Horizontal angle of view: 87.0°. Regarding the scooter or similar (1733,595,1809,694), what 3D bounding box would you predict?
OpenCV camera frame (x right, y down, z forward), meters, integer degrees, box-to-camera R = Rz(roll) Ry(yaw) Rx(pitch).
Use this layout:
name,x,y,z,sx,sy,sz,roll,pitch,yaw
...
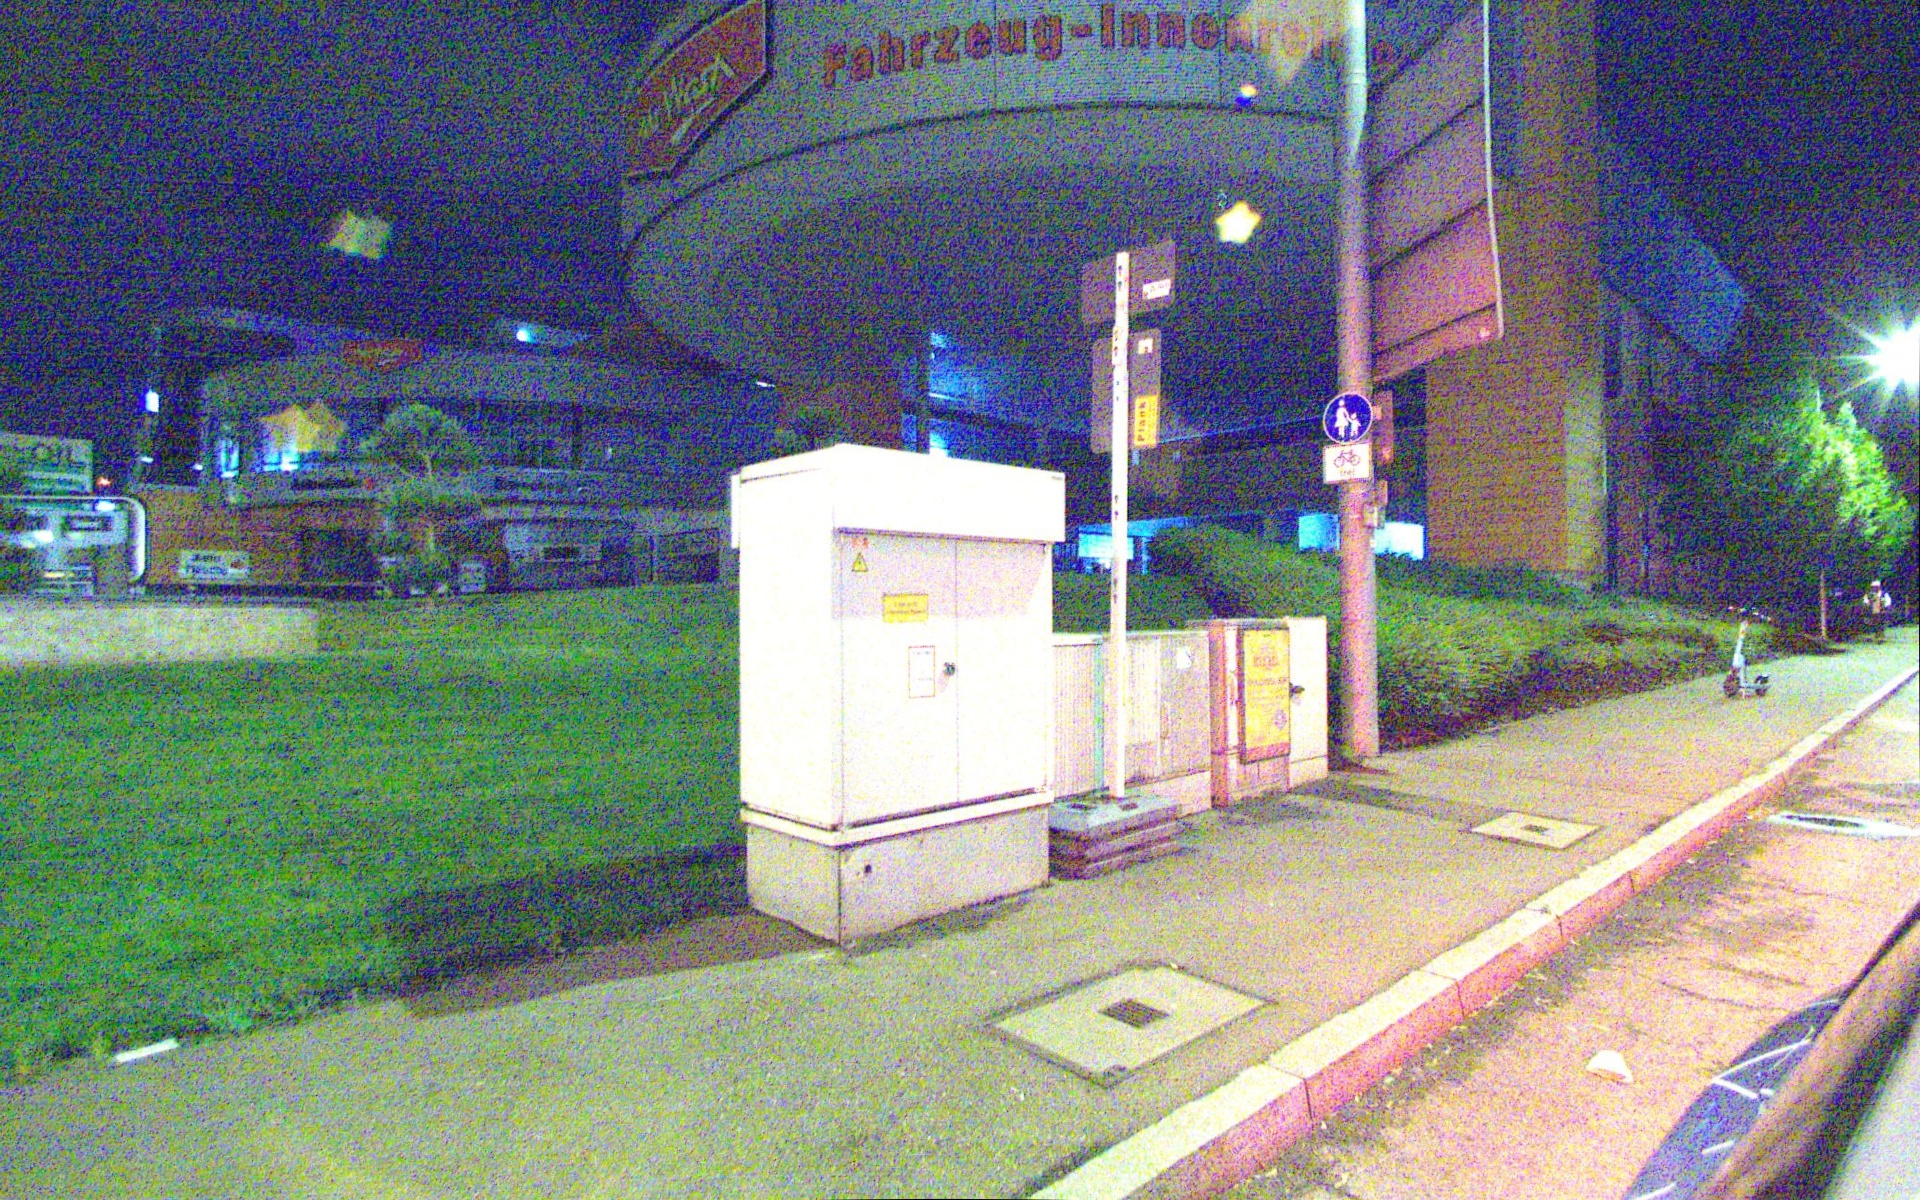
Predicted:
name,x,y,z,sx,sy,sz,roll,pitch,yaw
scooter or similar,11.279,0.593,14.059,1.367,1.295,0.569,0,1,-41

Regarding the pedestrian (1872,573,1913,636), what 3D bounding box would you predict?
name,x,y,z,sx,sy,sz,roll,pitch,yaw
pedestrian,27.850,0.137,30.222,0.597,1.842,0.824,-1,0,-40
